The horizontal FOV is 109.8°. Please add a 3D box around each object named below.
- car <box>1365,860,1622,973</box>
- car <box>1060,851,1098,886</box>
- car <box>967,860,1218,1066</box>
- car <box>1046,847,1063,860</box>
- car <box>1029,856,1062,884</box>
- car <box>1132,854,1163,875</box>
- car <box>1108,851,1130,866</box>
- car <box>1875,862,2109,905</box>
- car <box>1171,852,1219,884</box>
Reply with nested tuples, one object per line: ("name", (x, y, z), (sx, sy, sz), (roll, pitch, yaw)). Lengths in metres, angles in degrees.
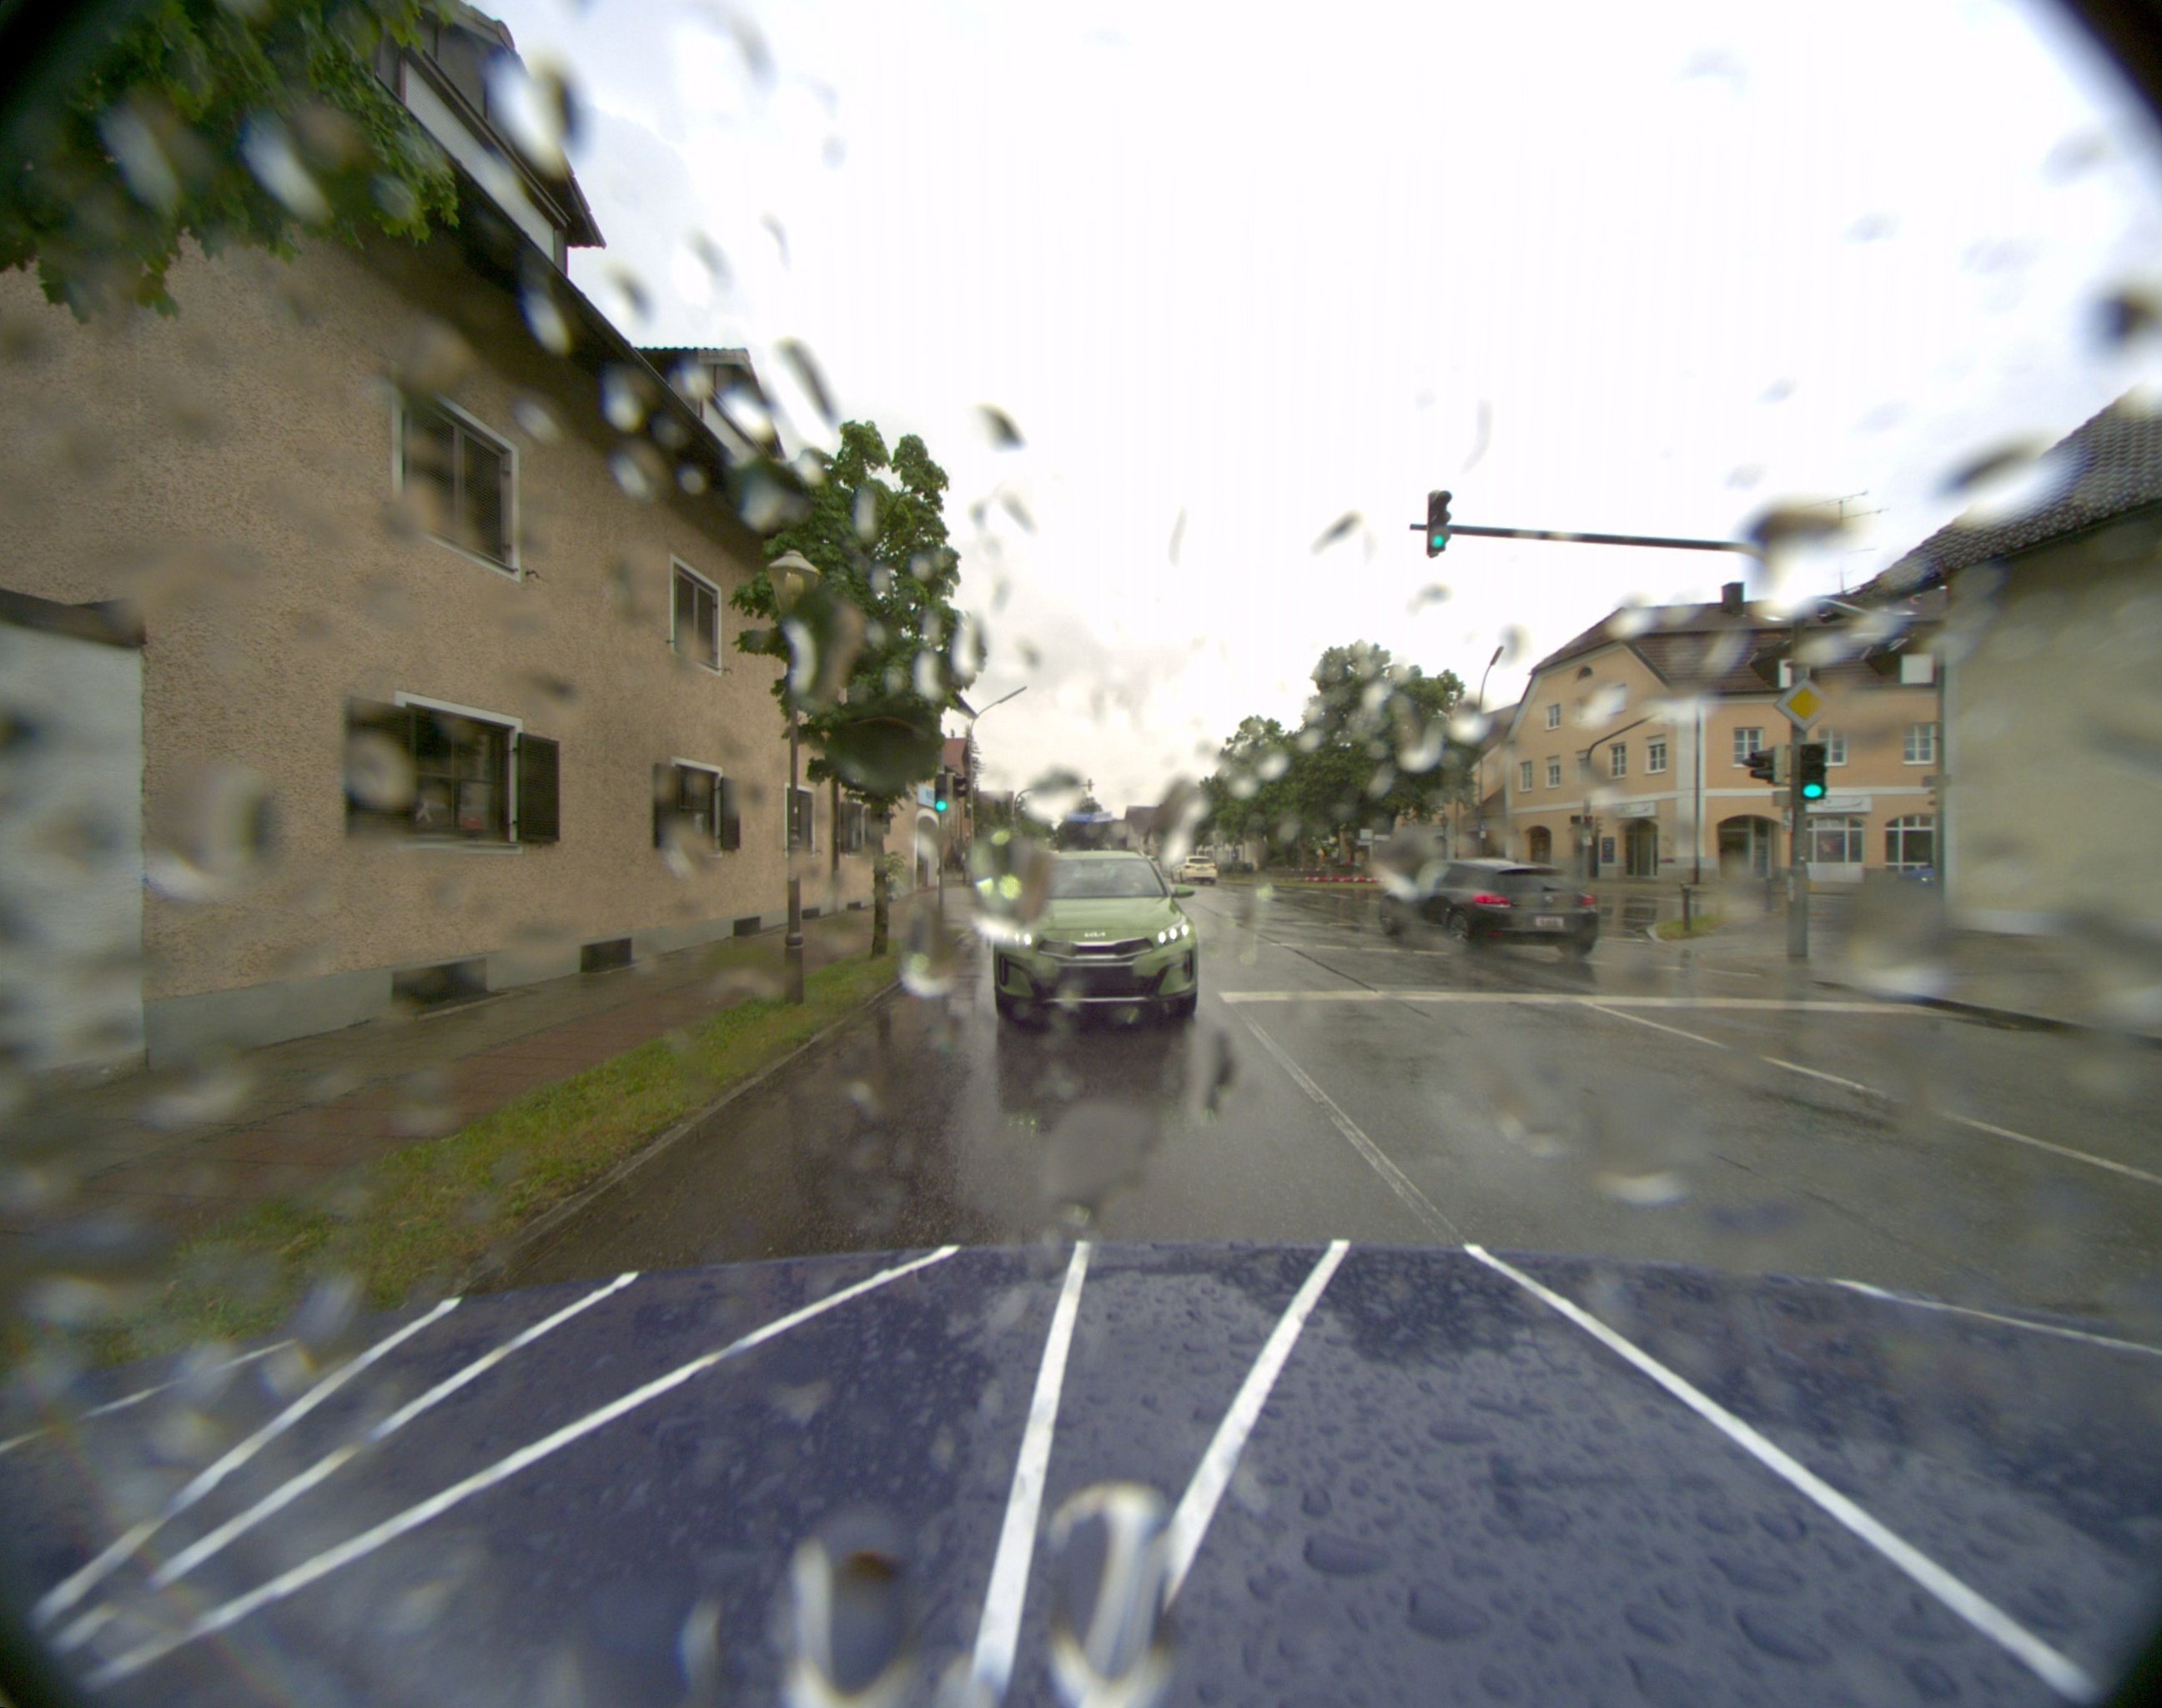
("car", (6.144, 0.839, 11.942), (2.001, 1.399, 3.884), (1, 1, 2))
("car", (-0.057, 0.650, 35.726), (1.637, 1.509, 4.000), (1, 0, 1))
("car", (0.129, 0.852, 7.831), (1.872, 1.504, 4.105), (-1, 0, 1))
("car", (-3.997, -0.090, 113.939), (2.218, 1.977, 4.952), (1, 0, -5))
("car", (-2.203, 0.963, 48.523), (1.856, 1.656, 4.035), (1, 1, 1))
("car", (5.021, 0.773, 57.552), (1.931, 1.557, 4.125), (0, 0, -1))
("car", (3.998, 0.435, 80.740), (1.972, 1.554, 4.150), (1, 1, -3))
("car", (27.323, 0.843, 22.966), (4.352, 1.178, 1.691), (0, 1, 15))
("car", (5.882, 0.693, 39.721), (1.757, 1.502, 4.229), (1, 0, -1))
